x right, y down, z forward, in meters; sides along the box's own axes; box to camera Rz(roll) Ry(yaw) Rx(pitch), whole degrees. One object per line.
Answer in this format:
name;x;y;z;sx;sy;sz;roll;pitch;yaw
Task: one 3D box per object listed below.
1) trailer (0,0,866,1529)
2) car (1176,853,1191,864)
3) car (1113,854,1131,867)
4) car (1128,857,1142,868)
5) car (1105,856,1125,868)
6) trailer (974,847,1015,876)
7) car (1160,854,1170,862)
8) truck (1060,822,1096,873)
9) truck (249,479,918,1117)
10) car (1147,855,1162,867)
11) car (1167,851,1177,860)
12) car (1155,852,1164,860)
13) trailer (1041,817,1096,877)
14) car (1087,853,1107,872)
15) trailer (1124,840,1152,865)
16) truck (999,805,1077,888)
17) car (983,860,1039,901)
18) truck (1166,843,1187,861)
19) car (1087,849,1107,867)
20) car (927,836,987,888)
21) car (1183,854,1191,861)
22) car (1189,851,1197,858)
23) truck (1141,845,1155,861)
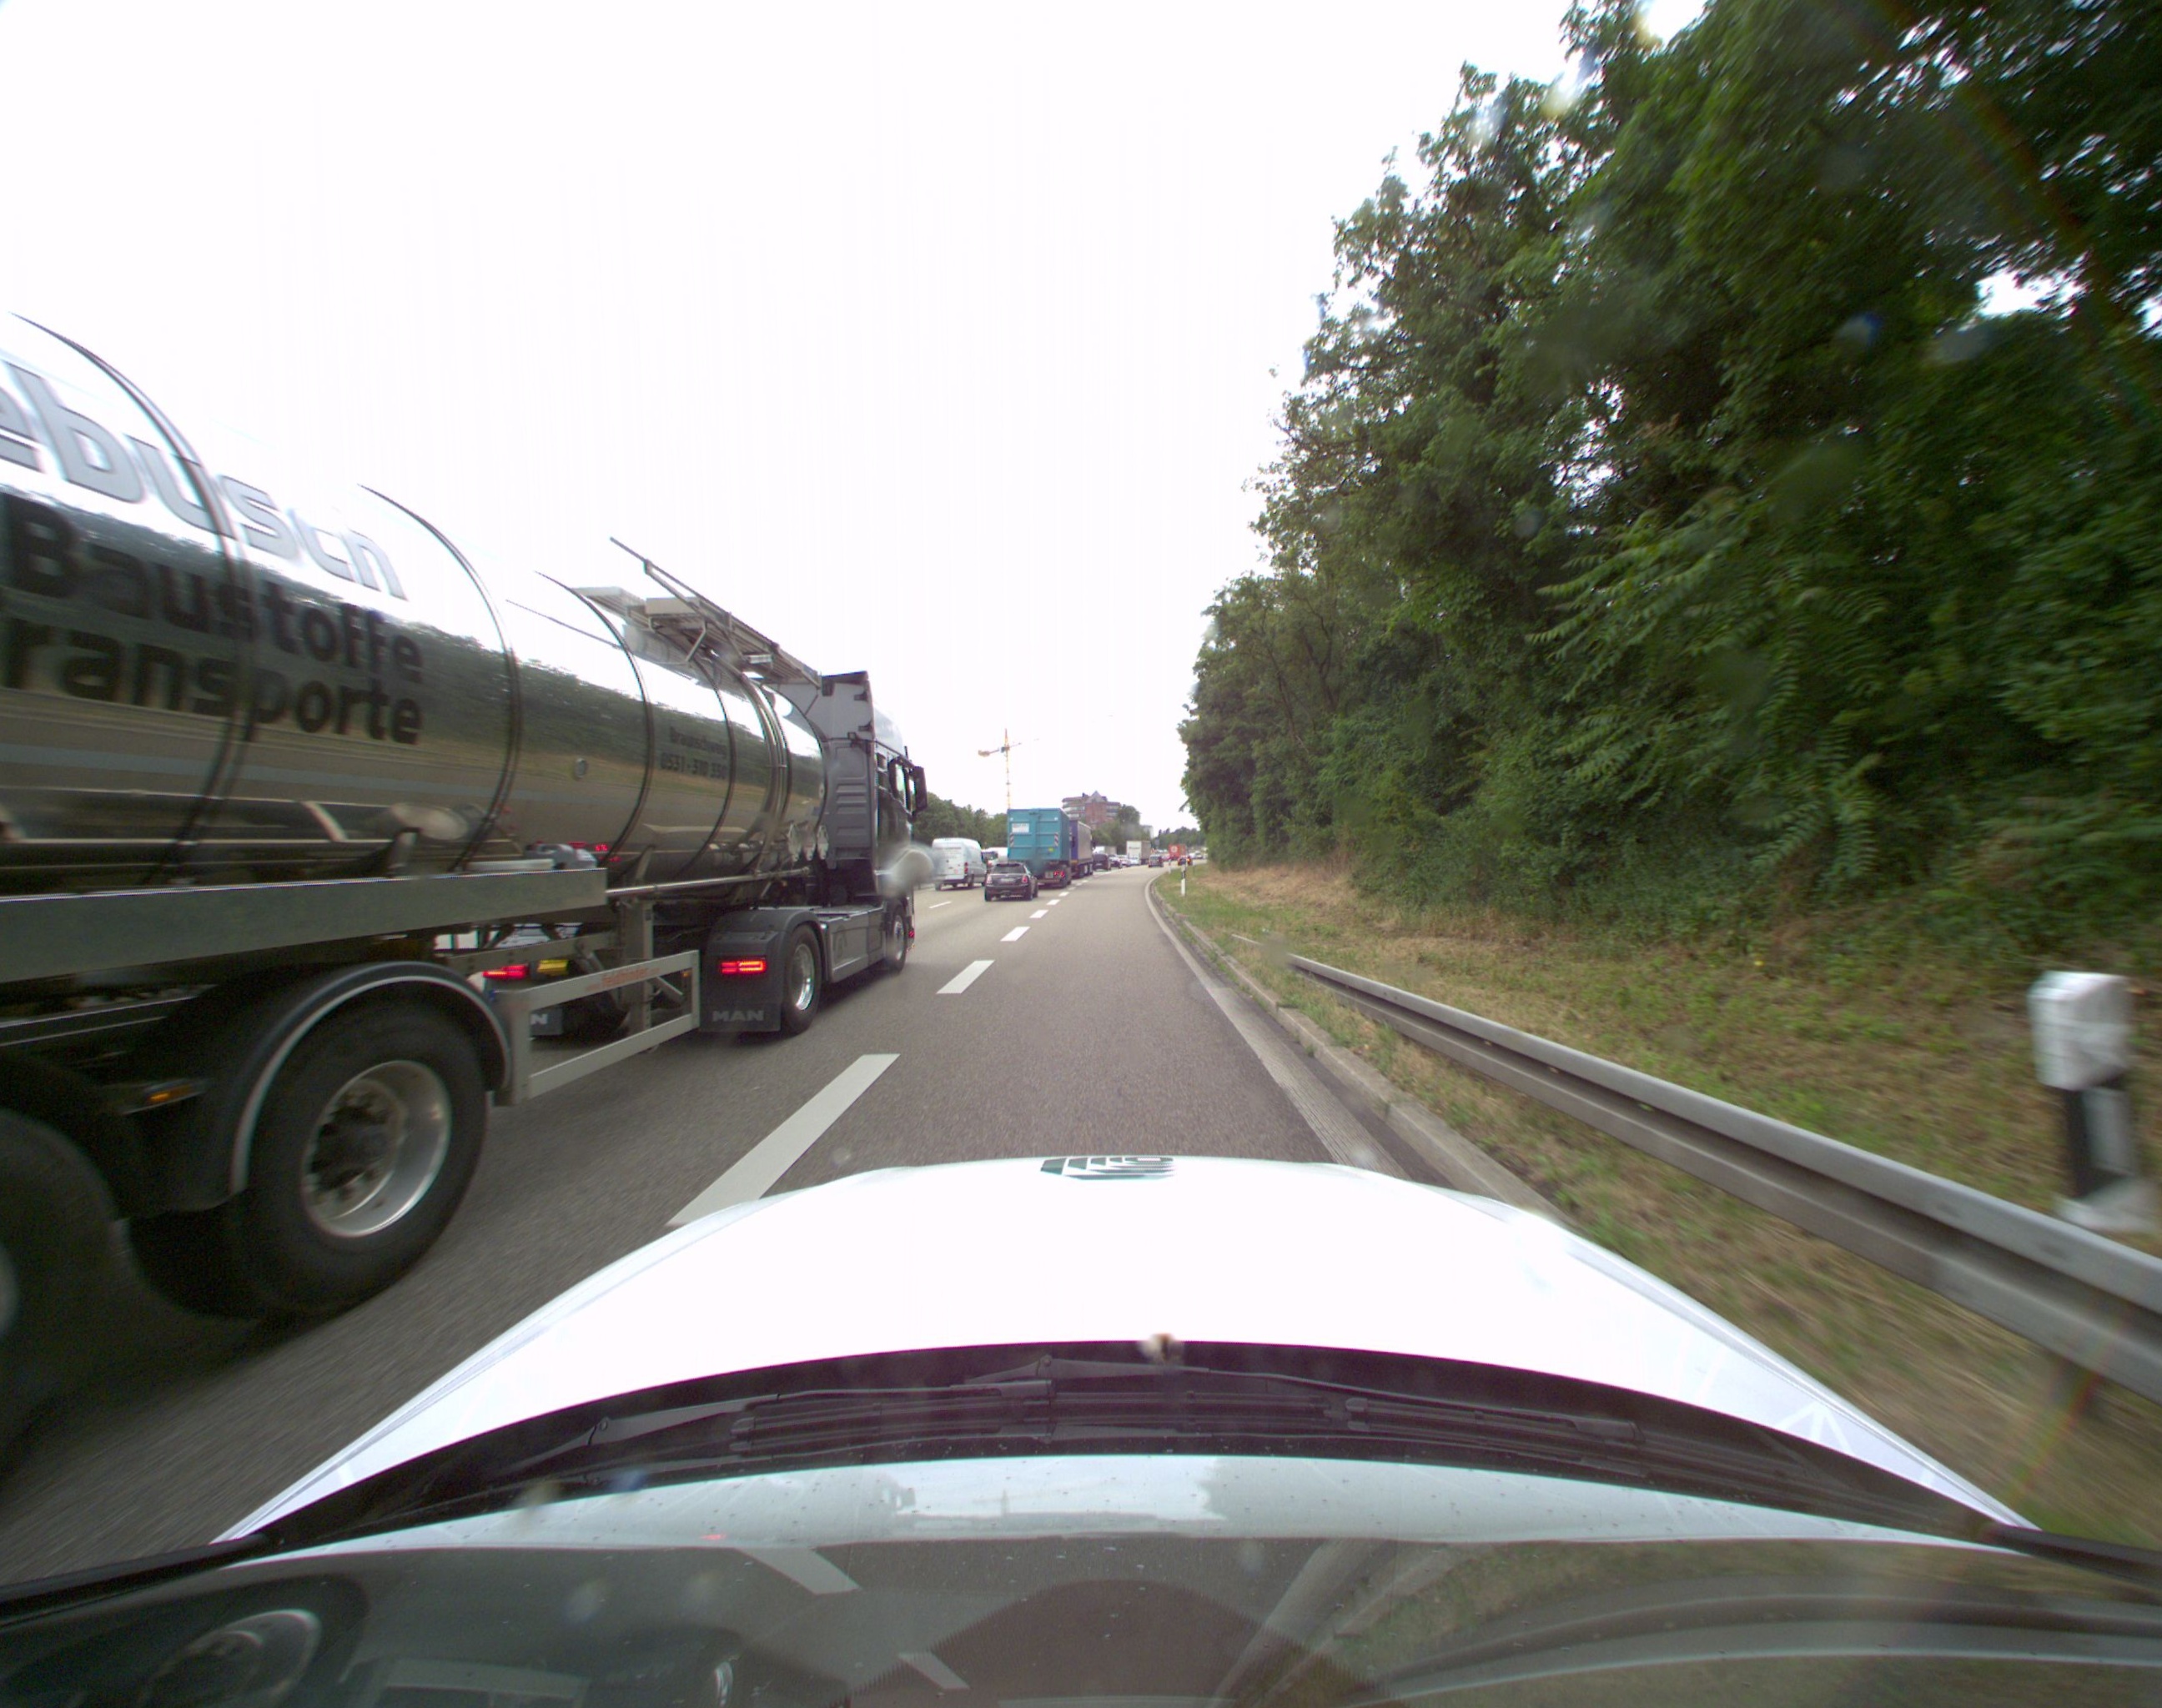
trailer;-3.828;-0.384;3.727;2.674;3.907;10.984;-2;0;0
car;14.986;0.621;119.262;1.813;1.482;4.013;-2;0;12
car;5.752;0.844;113.946;1.944;1.695;4.879;-2;0;10
car;8.275;1.315;124.968;1.754;1.478;4.098;-3;0;8
car;4.222;0.973;101.226;1.836;1.460;4.843;-2;0;9
trailer;-11.132;0.933;106.678;2.457;3.396;12.487;-2;0;7
car;18.149;0.938;175.104;1.705;1.684;4.014;-1;-1;13
truck;-0.175;-0.471;68.937;2.549;4.043;6.596;-1;-1;4
truck;-3.806;-0.353;8.570;2.674;3.907;6.934;-2;0;0
car;9.632;0.945;106.667;1.816;1.482;4.007;-2;0;6
car;21.498;0.385;191.644;1.980;2.013;4.013;-2;0;11
car;19.752;0.508;204.431;1.806;2.013;4.012;-2;0;11
trailer;-0.747;-0.404;61.714;2.613;4.023;13.484;-1;-1;6
car;1.792;0.913;88.868;1.980;1.898;4.986;-4;0;1
trailer;9.763;-0.191;137.876;3.278;4.036;13.136;-1;-1;11
truck;-2.054;-0.325;44.143;2.917;3.796;11.339;-2;0;3
car;-2.636;0.970;31.418;1.741;1.422;3.664;-2;0;1
truck;23.834;-0.561;202.710;3.465;4.073;13.641;-2;0;13
car;2.493;0.583;124.735;1.980;2.553;5.379;-2;0;11
car;-6.558;0.438;43.797;2.215;2.578;6.795;-1;-1;0
car;28.599;0.913;220.109;1.602;1.948;3.720;-1;-1;15
car;32.002;0.118;232.202;1.602;2.013;4.017;-2;0;15
truck;17.458;-0.213;211.950;2.722;4.138;10.726;-1;-1;10
